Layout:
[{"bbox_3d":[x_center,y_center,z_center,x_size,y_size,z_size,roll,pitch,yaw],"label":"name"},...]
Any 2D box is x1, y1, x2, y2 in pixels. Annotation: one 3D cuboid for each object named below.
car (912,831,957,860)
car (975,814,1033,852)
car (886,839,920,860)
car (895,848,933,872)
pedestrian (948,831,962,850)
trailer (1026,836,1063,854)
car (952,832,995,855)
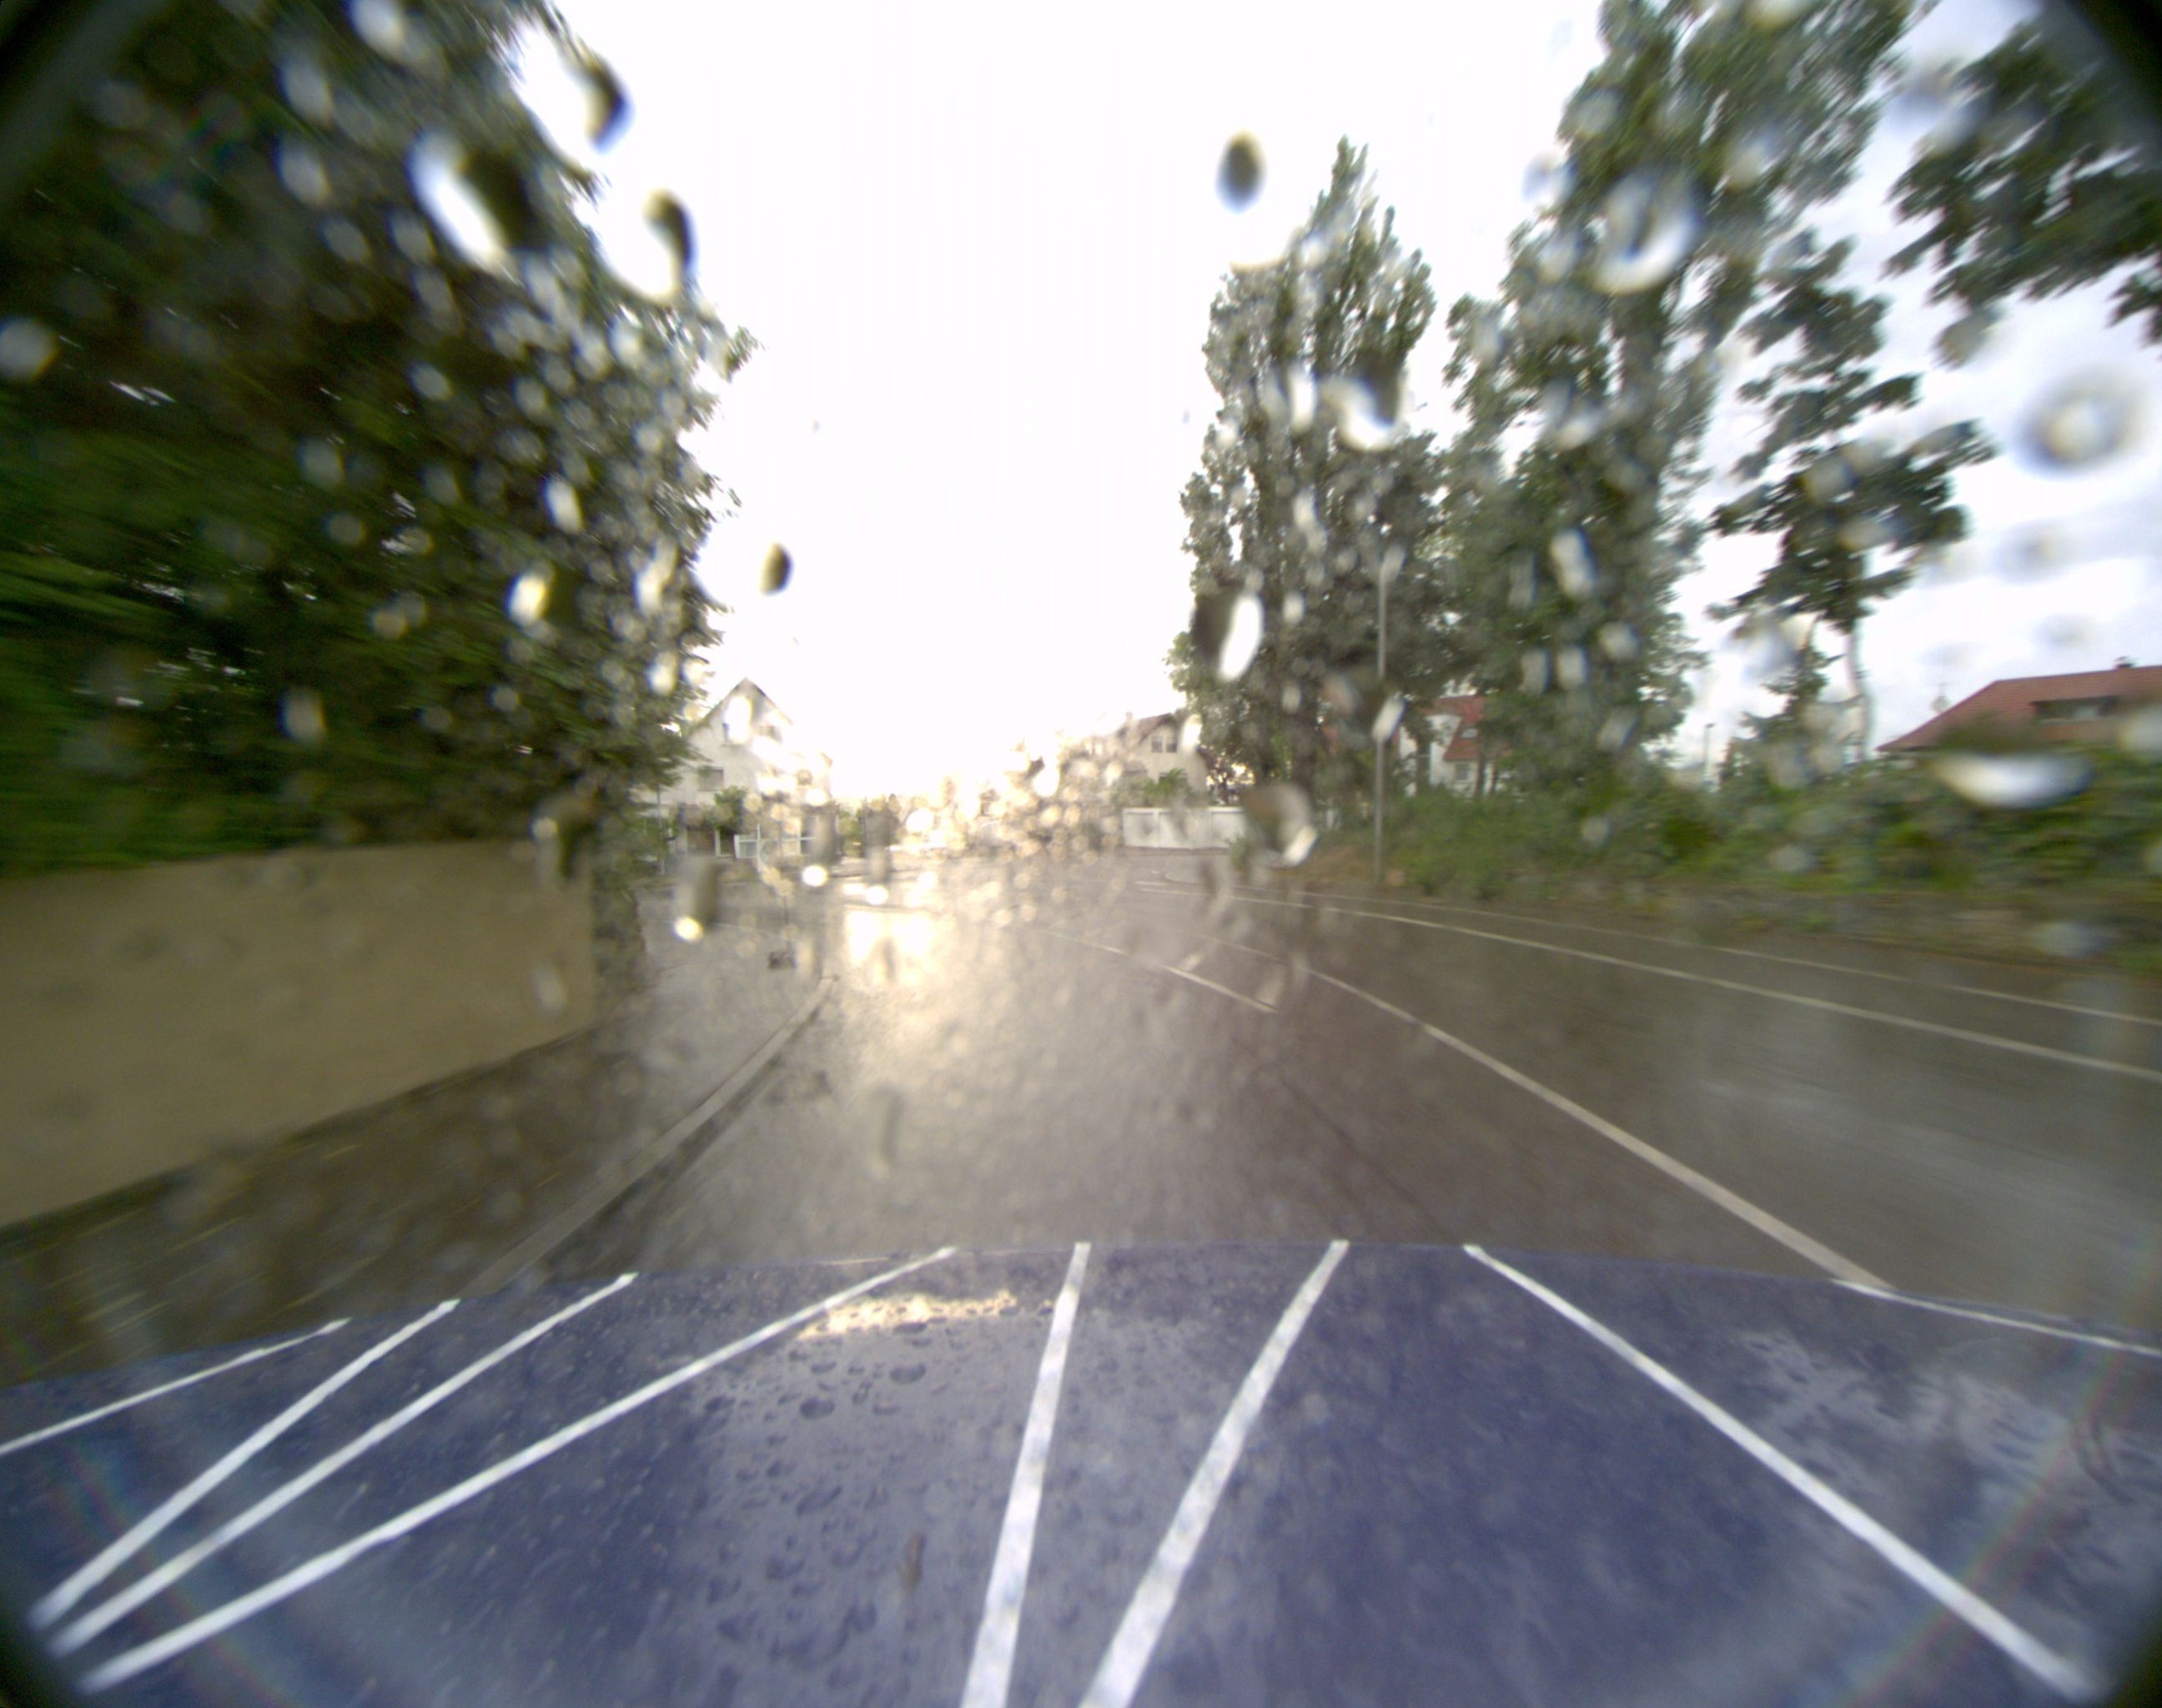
[{"bbox_3d":[-10.055,-0.619,51.778,2.069,1.697,4.783,-5,4,-21],"label":"car"},{"bbox_3d":[-5.732,-1.550,55.753,2.193,2.510,6.239,-5,4,-25],"label":"car"},{"bbox_3d":[-14.841,-0.438,63.135,2.069,1.502,4.472,-5,4,-21],"label":"car"},{"bbox_3d":[-12.752,0.392,57.910,2.069,1.502,4.472,-5,4,-21],"label":"car"},{"bbox_3d":[-10.104,-1.075,61.029,0.826,1.502,0.975,-5,4,-22],"label":"pedestrian"},{"bbox_3d":[-2.399,-0.594,49.449,1.594,1.001,2.818,-6,3,-19],"label":"trailer"},{"bbox_3d":[-8.865,-0.885,62.228,2.069,1.697,4.782,-5,4,-25],"label":"car"}]
